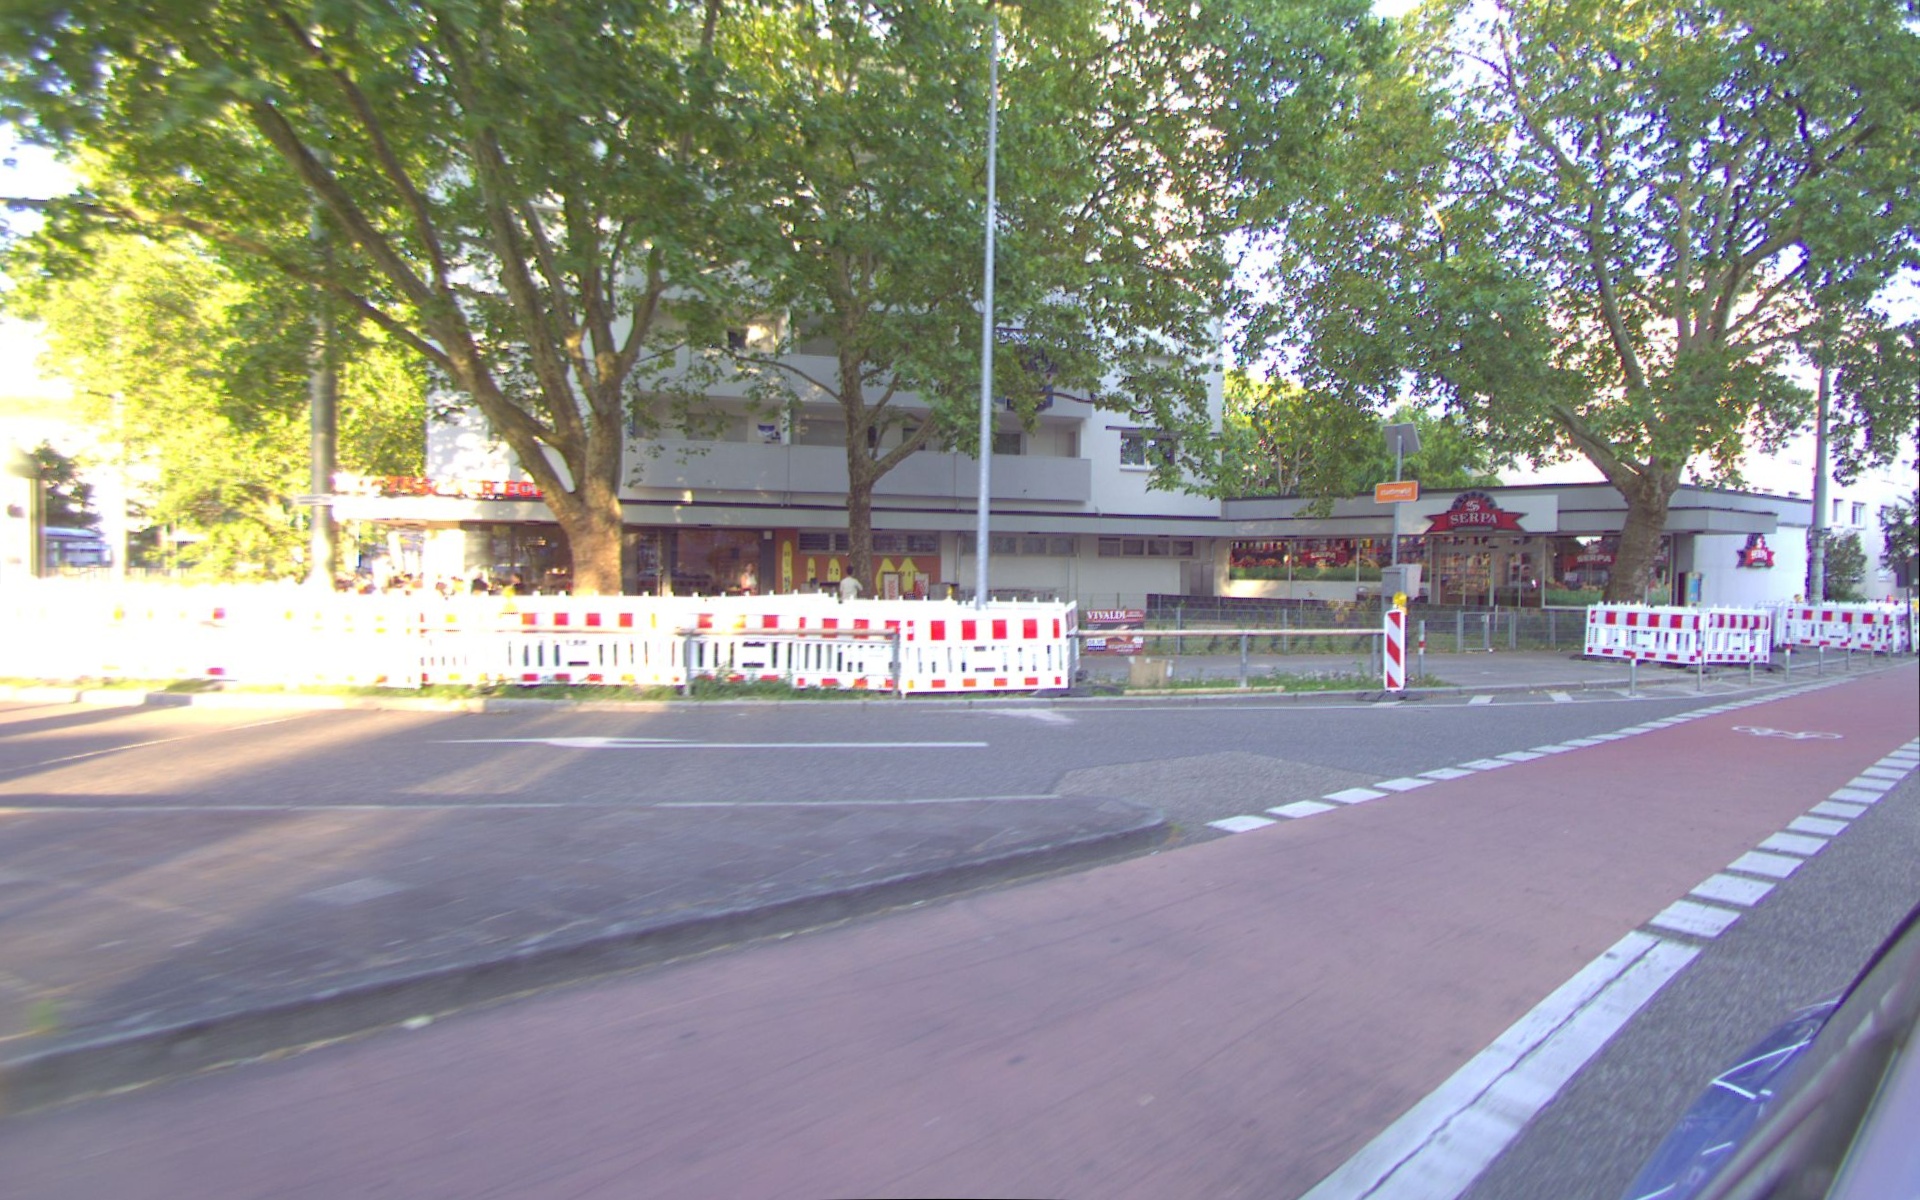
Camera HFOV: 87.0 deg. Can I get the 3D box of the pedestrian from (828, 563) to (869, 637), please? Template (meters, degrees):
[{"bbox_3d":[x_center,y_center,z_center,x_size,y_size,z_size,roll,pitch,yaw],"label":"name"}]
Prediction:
[{"bbox_3d":[-2.483,-0.008,22.478,0.731,1.608,0.642,-1,1,-25],"label":"pedestrian"}]

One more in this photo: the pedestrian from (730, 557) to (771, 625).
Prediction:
[{"bbox_3d":[-5.076,-0.223,24.516,0.639,1.608,0.735,0,1,44],"label":"pedestrian"}]
